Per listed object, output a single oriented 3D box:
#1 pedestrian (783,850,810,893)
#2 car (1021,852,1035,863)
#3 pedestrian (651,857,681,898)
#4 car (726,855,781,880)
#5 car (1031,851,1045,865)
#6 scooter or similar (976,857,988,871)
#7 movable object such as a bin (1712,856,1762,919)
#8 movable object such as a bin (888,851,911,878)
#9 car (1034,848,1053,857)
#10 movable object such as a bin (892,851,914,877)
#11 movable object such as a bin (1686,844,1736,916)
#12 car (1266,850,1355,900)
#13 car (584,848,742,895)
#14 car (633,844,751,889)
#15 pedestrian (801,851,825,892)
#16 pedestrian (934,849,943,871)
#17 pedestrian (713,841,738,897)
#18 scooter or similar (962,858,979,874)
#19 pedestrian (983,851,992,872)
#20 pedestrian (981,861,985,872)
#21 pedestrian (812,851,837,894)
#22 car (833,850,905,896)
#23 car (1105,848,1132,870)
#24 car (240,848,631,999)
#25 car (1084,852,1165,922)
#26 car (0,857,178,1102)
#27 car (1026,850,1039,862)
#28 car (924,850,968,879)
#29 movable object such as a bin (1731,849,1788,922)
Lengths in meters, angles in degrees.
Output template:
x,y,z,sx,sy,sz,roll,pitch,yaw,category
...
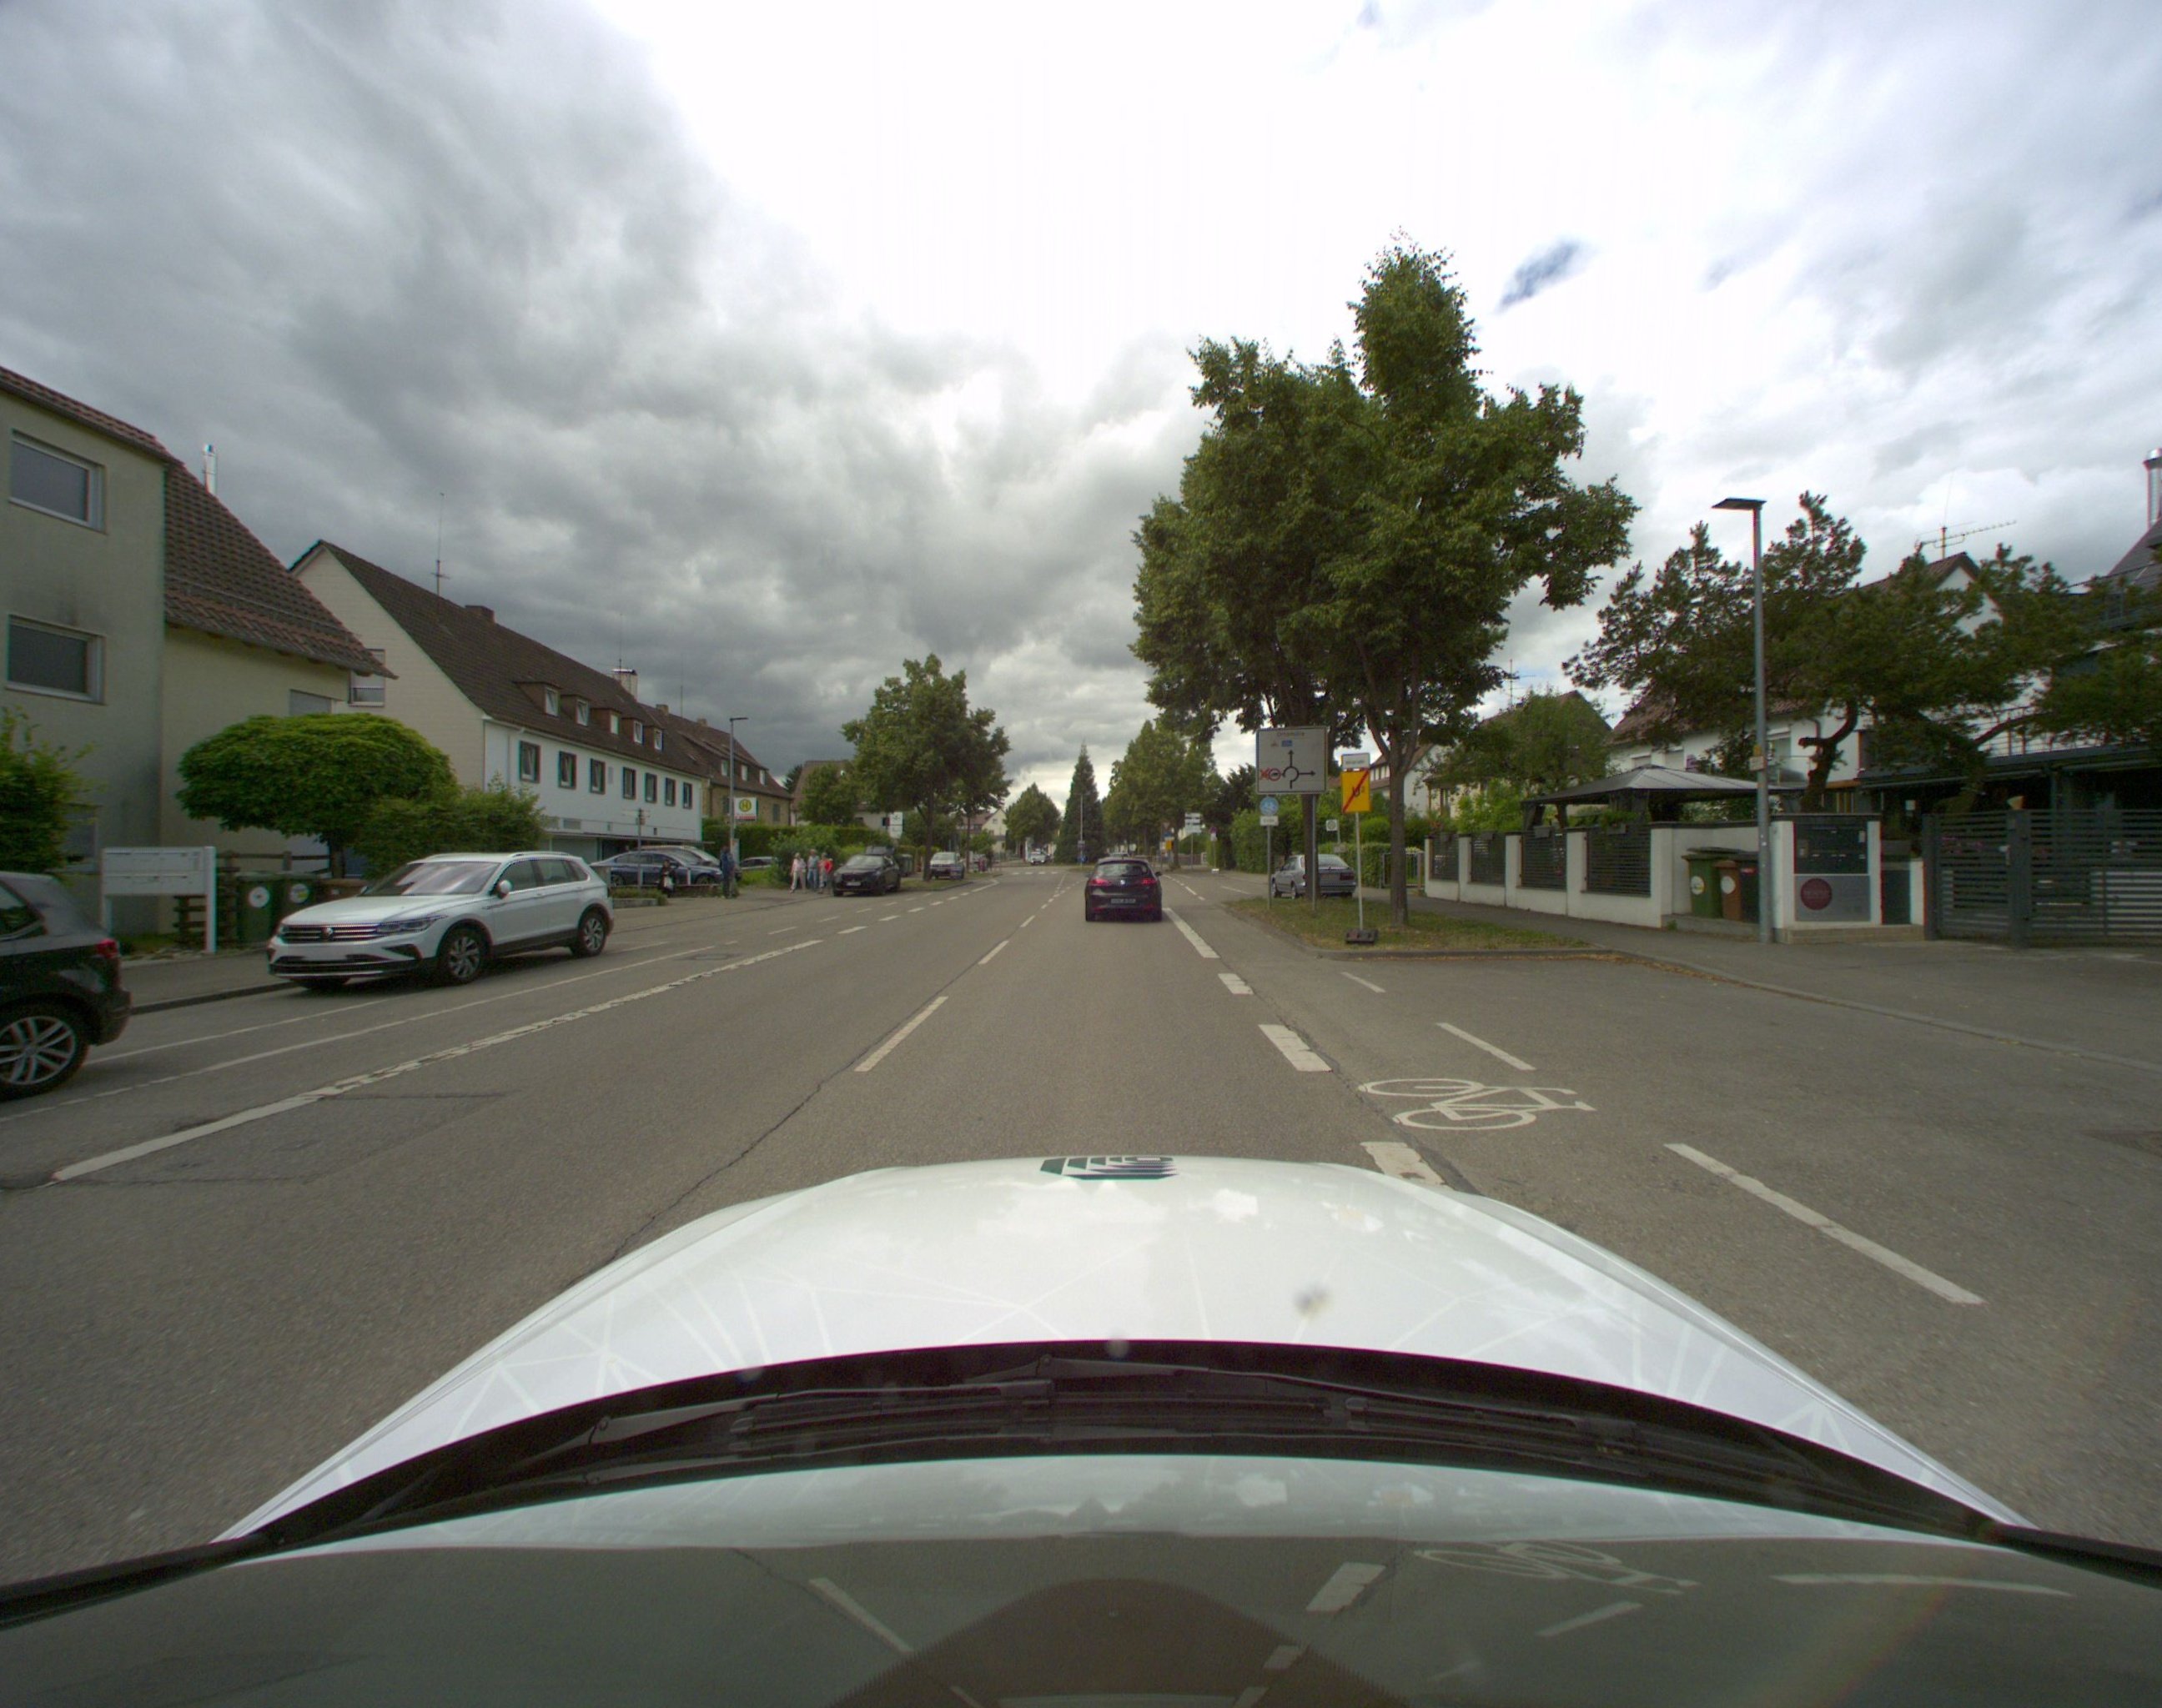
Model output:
x,y,z,sx,sy,sz,roll,pitch,yaw,category
-11.177,0.663,31.984,0.785,1.663,0.880,-1,0,-5,pedestrian
-8.241,0.489,126.837,1.791,1.601,4.000,-1,0,1,car
-13.544,0.757,26.610,0.585,1.313,0.706,-1,0,2,pedestrian
-19.651,0.785,48.935,2.819,1.442,1.297,-1,0,-4,car
-5.044,0.465,95.249,1.564,1.634,3.618,-1,0,-2,car
-7.934,0.821,65.351,0.409,1.095,0.958,2,-1,-41,scooter or similar
9.943,0.500,12.347,0.434,0.920,0.396,-1,0,3,movable object such as a bin
-11.549,0.654,51.944,1.202,1.651,0.997,2,0,-1,movable object such as a bin
-8.764,-0.416,192.074,3.953,1.970,2.047,-1,0,20,car
-11.691,0.656,53.626,1.202,1.651,0.997,2,0,-1,movable object such as a bin
9.957,0.408,12.880,0.434,1.109,0.455,-1,0,3,movable object such as a bin
6.873,0.631,24.782,1.605,1.377,4.389,-1,-1,2,car
-14.432,0.617,28.422,4.521,1.554,2.025,1,0,-16,car
-15.879,0.497,33.341,3.961,1.690,1.876,0,3,11,car
-10.935,0.700,33.246,0.785,1.663,0.590,-1,0,-6,pedestrian
-11.704,0.506,66.810,0.565,1.784,0.534,0,0,-39,pedestrian
-11.626,0.486,26.626,0.502,1.806,0.672,-1,0,1,pedestrian
-8.376,0.896,61.745,1.292,1.139,0.344,-1,0,-30,scooter or similar
-7.425,0.572,64.770,0.484,1.669,0.510,-1,0,-32,pedestrian
-7.682,0.966,63.656,0.239,0.894,0.257,1,-1,-26,pedestrian
-10.142,0.717,32.235,0.785,1.663,0.753,0,0,-6,pedestrian
-8.470,0.695,32.874,1.719,1.725,4.564,0,0,0,car
2.898,0.354,62.692,1.986,1.613,4.002,0,0,2,car
-8.446,0.767,11.355,1.815,1.634,4.584,-1,0,-1,car
1.087,0.702,19.497,1.724,1.486,4.005,-1,0,4,car
-7.749,0.818,4.060,1.671,1.552,4.273,-1,0,1,car
-8.645,0.375,144.914,2.024,1.970,3.998,-1,0,-1,car
-8.113,0.607,49.304,1.853,1.653,4.296,0,0,2,car
9.806,0.443,11.779,0.434,1.022,0.455,-1,0,3,movable object such as a bin
